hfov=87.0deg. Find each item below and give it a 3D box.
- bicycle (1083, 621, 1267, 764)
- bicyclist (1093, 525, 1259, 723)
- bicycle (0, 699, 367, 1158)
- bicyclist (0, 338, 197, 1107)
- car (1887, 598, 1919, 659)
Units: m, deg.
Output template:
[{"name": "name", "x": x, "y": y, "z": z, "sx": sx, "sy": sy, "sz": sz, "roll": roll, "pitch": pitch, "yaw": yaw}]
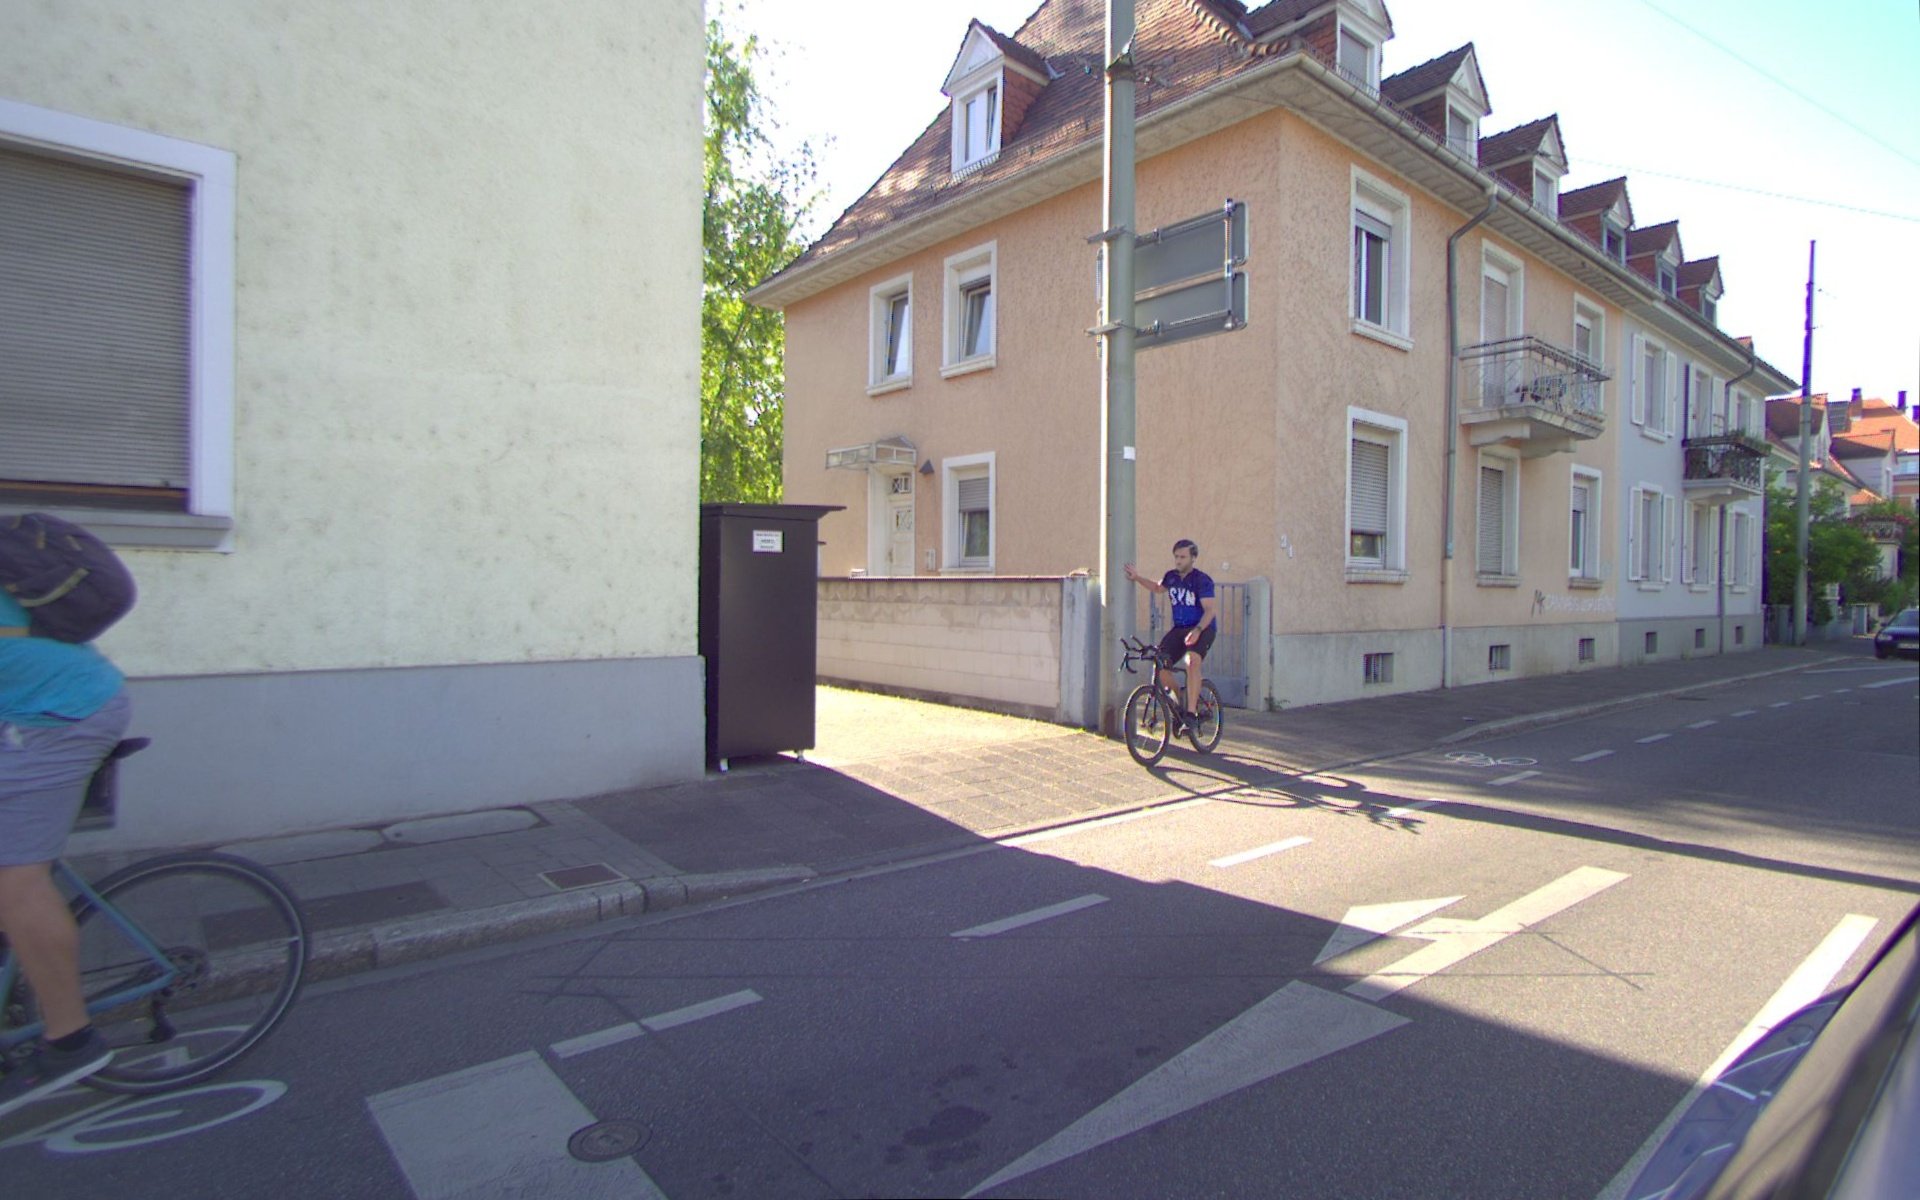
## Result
[{"name": "bicycle", "x": 1.944, "y": 0.769, "z": 9.005, "sx": 1.744, "sy": 1.081, "sz": 0.592, "roll": 0, "pitch": 5, "yaw": -41}, {"name": "bicyclist", "x": 1.962, "y": 0.180, "z": 9.255, "sx": 0.870, "sy": 1.627, "sz": 1.052, "roll": 1, "pitch": 5, "yaw": -41}, {"name": "bicycle", "x": -2.677, "y": 0.866, "z": 2.736, "sx": 1.762, "sy": 1.105, "sz": 0.519, "roll": 3, "pitch": -1, "yaw": -38}, {"name": "bicyclist", "x": -2.695, "y": 0.304, "z": 2.719, "sx": 0.928, "sy": 1.959, "sz": 0.519, "roll": 4, "pitch": -2, "yaw": -38}, {"name": "car", "x": 26.712, "y": 0.742, "z": 27.374, "sx": 3.742, "sy": 1.601, "sz": 1.696, "roll": 0, "pitch": -1, "yaw": -36}]
